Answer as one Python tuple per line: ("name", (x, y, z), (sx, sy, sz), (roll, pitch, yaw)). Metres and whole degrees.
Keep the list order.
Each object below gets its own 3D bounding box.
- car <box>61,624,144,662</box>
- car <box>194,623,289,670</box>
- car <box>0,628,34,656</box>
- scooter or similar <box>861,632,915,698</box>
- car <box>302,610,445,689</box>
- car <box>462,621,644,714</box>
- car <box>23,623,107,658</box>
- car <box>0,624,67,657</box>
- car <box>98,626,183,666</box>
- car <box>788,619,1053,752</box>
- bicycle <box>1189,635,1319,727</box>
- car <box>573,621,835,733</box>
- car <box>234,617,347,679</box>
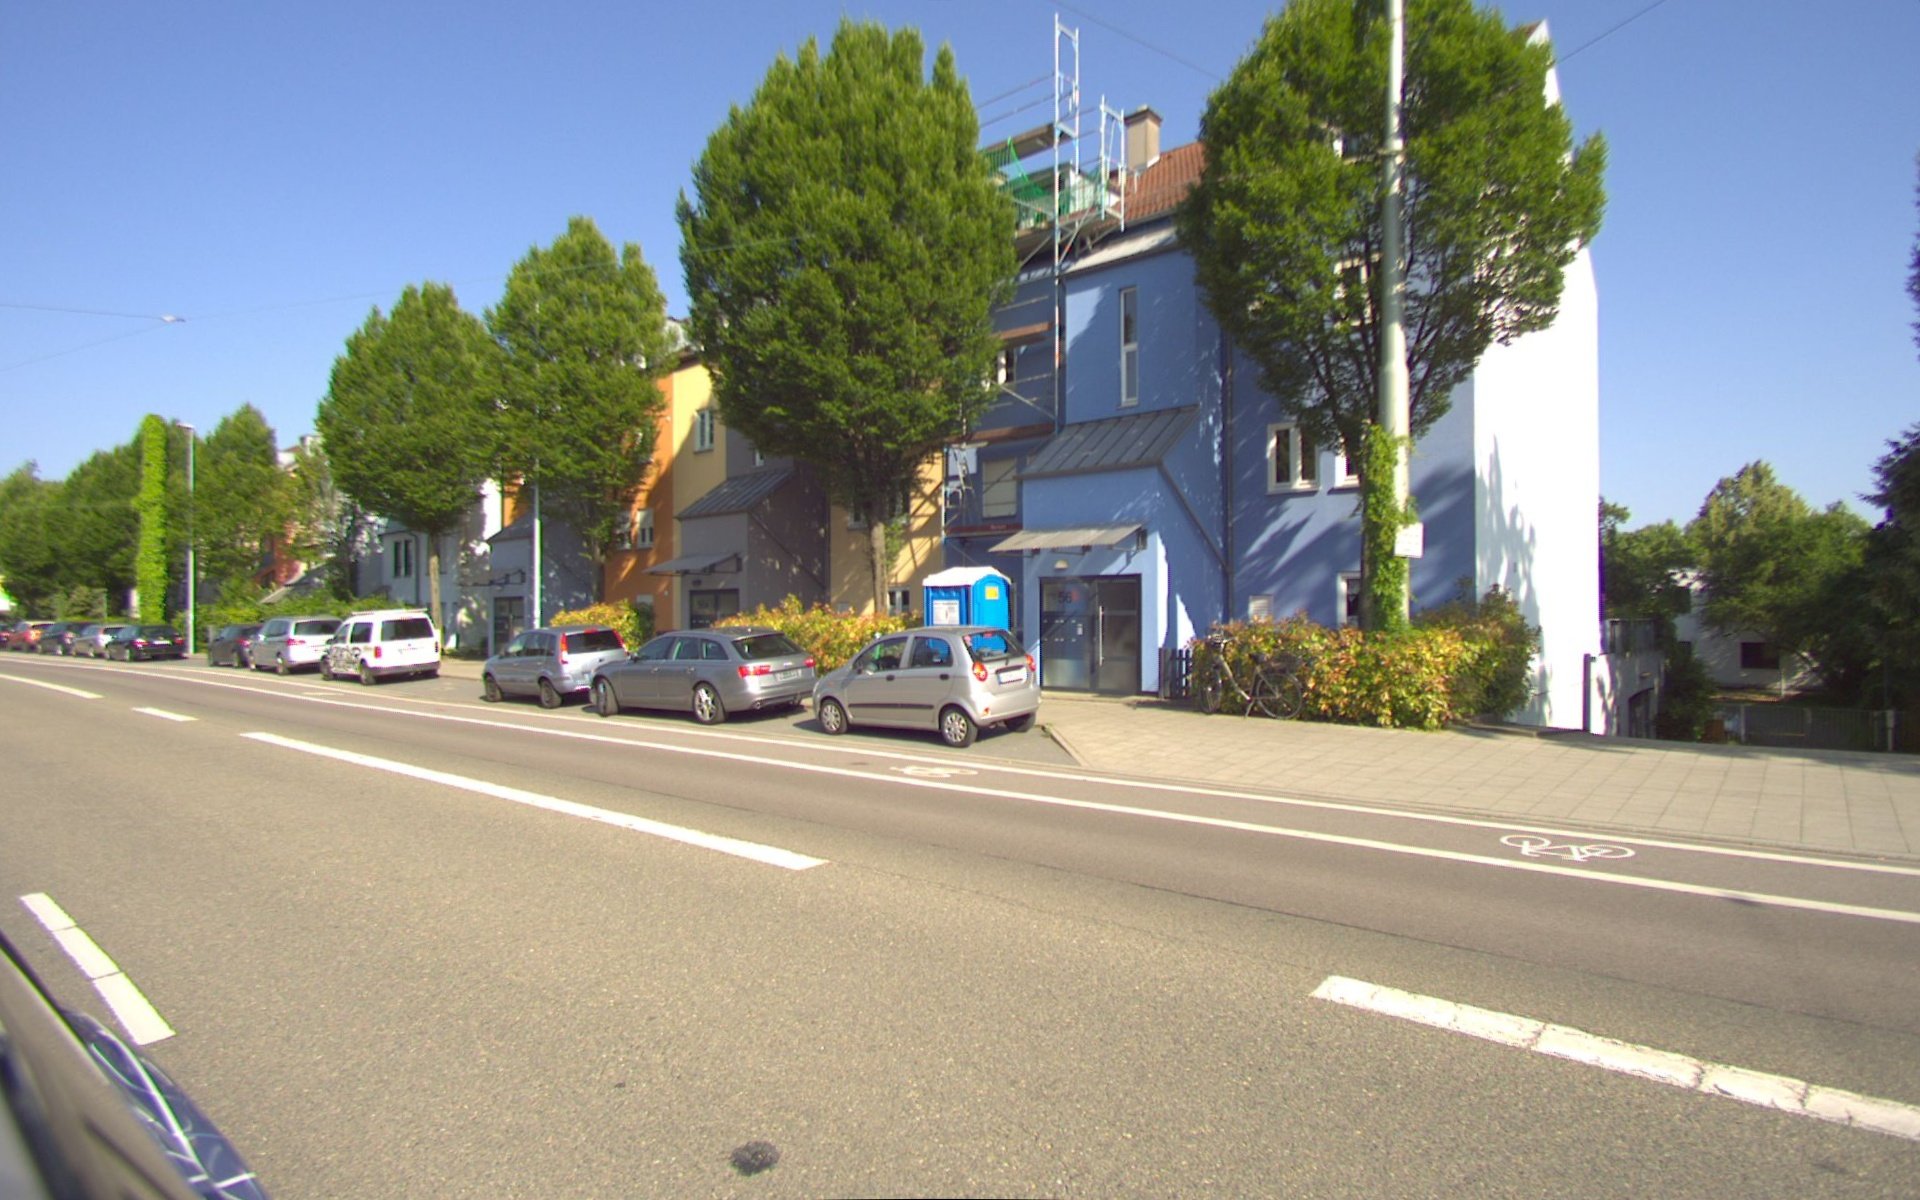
("car", (-38.449, 1.896, 45.342), (4.834, 1.482, 1.697), (0, 1, 35))
("car", (-24.787, 1.575, 34.877), (4.053, 1.477, 1.600), (-1, 0, 39))
("car", (-52.016, 2.248, 54.822), (4.700, 1.435, 1.639), (-1, -2, 34))
("scooter or similar", (-1.309, 1.166, 18.418), (1.041, 1.162, 0.291), (-1, -2, 37))
("car", (-15.930, 1.279, 27.384), (4.575, 1.859, 1.746), (-1, 3, 39))
("car", (-8.350, 1.287, 20.612), (3.979, 1.550, 1.745), (-1, 3, 41))
("car", (-42.840, 1.907, 48.409), (4.420, 1.586, 1.750), (-1, 0, 31))
("car", (-47.598, 2.034, 51.857), (4.151, 1.586, 1.748), (0, -1, 34))
("car", (-33.773, 1.834, 41.659), (4.903, 1.483, 1.693), (-1, 1, 39))
("car", (-0.617, 1.091, 14.125), (3.506, 1.505, 1.585), (-1, 3, 40))
("bicycle", (4.080, 1.097, 14.147), (0.438, 1.163, 1.786), (1, -1, -42))
("car", (-4.447, 1.202, 17.191), (4.749, 1.522, 1.732), (-1, 3, 38))
("car", (-20.747, 1.418, 31.277), (4.821, 1.713, 1.651), (-1, 1, 41))
